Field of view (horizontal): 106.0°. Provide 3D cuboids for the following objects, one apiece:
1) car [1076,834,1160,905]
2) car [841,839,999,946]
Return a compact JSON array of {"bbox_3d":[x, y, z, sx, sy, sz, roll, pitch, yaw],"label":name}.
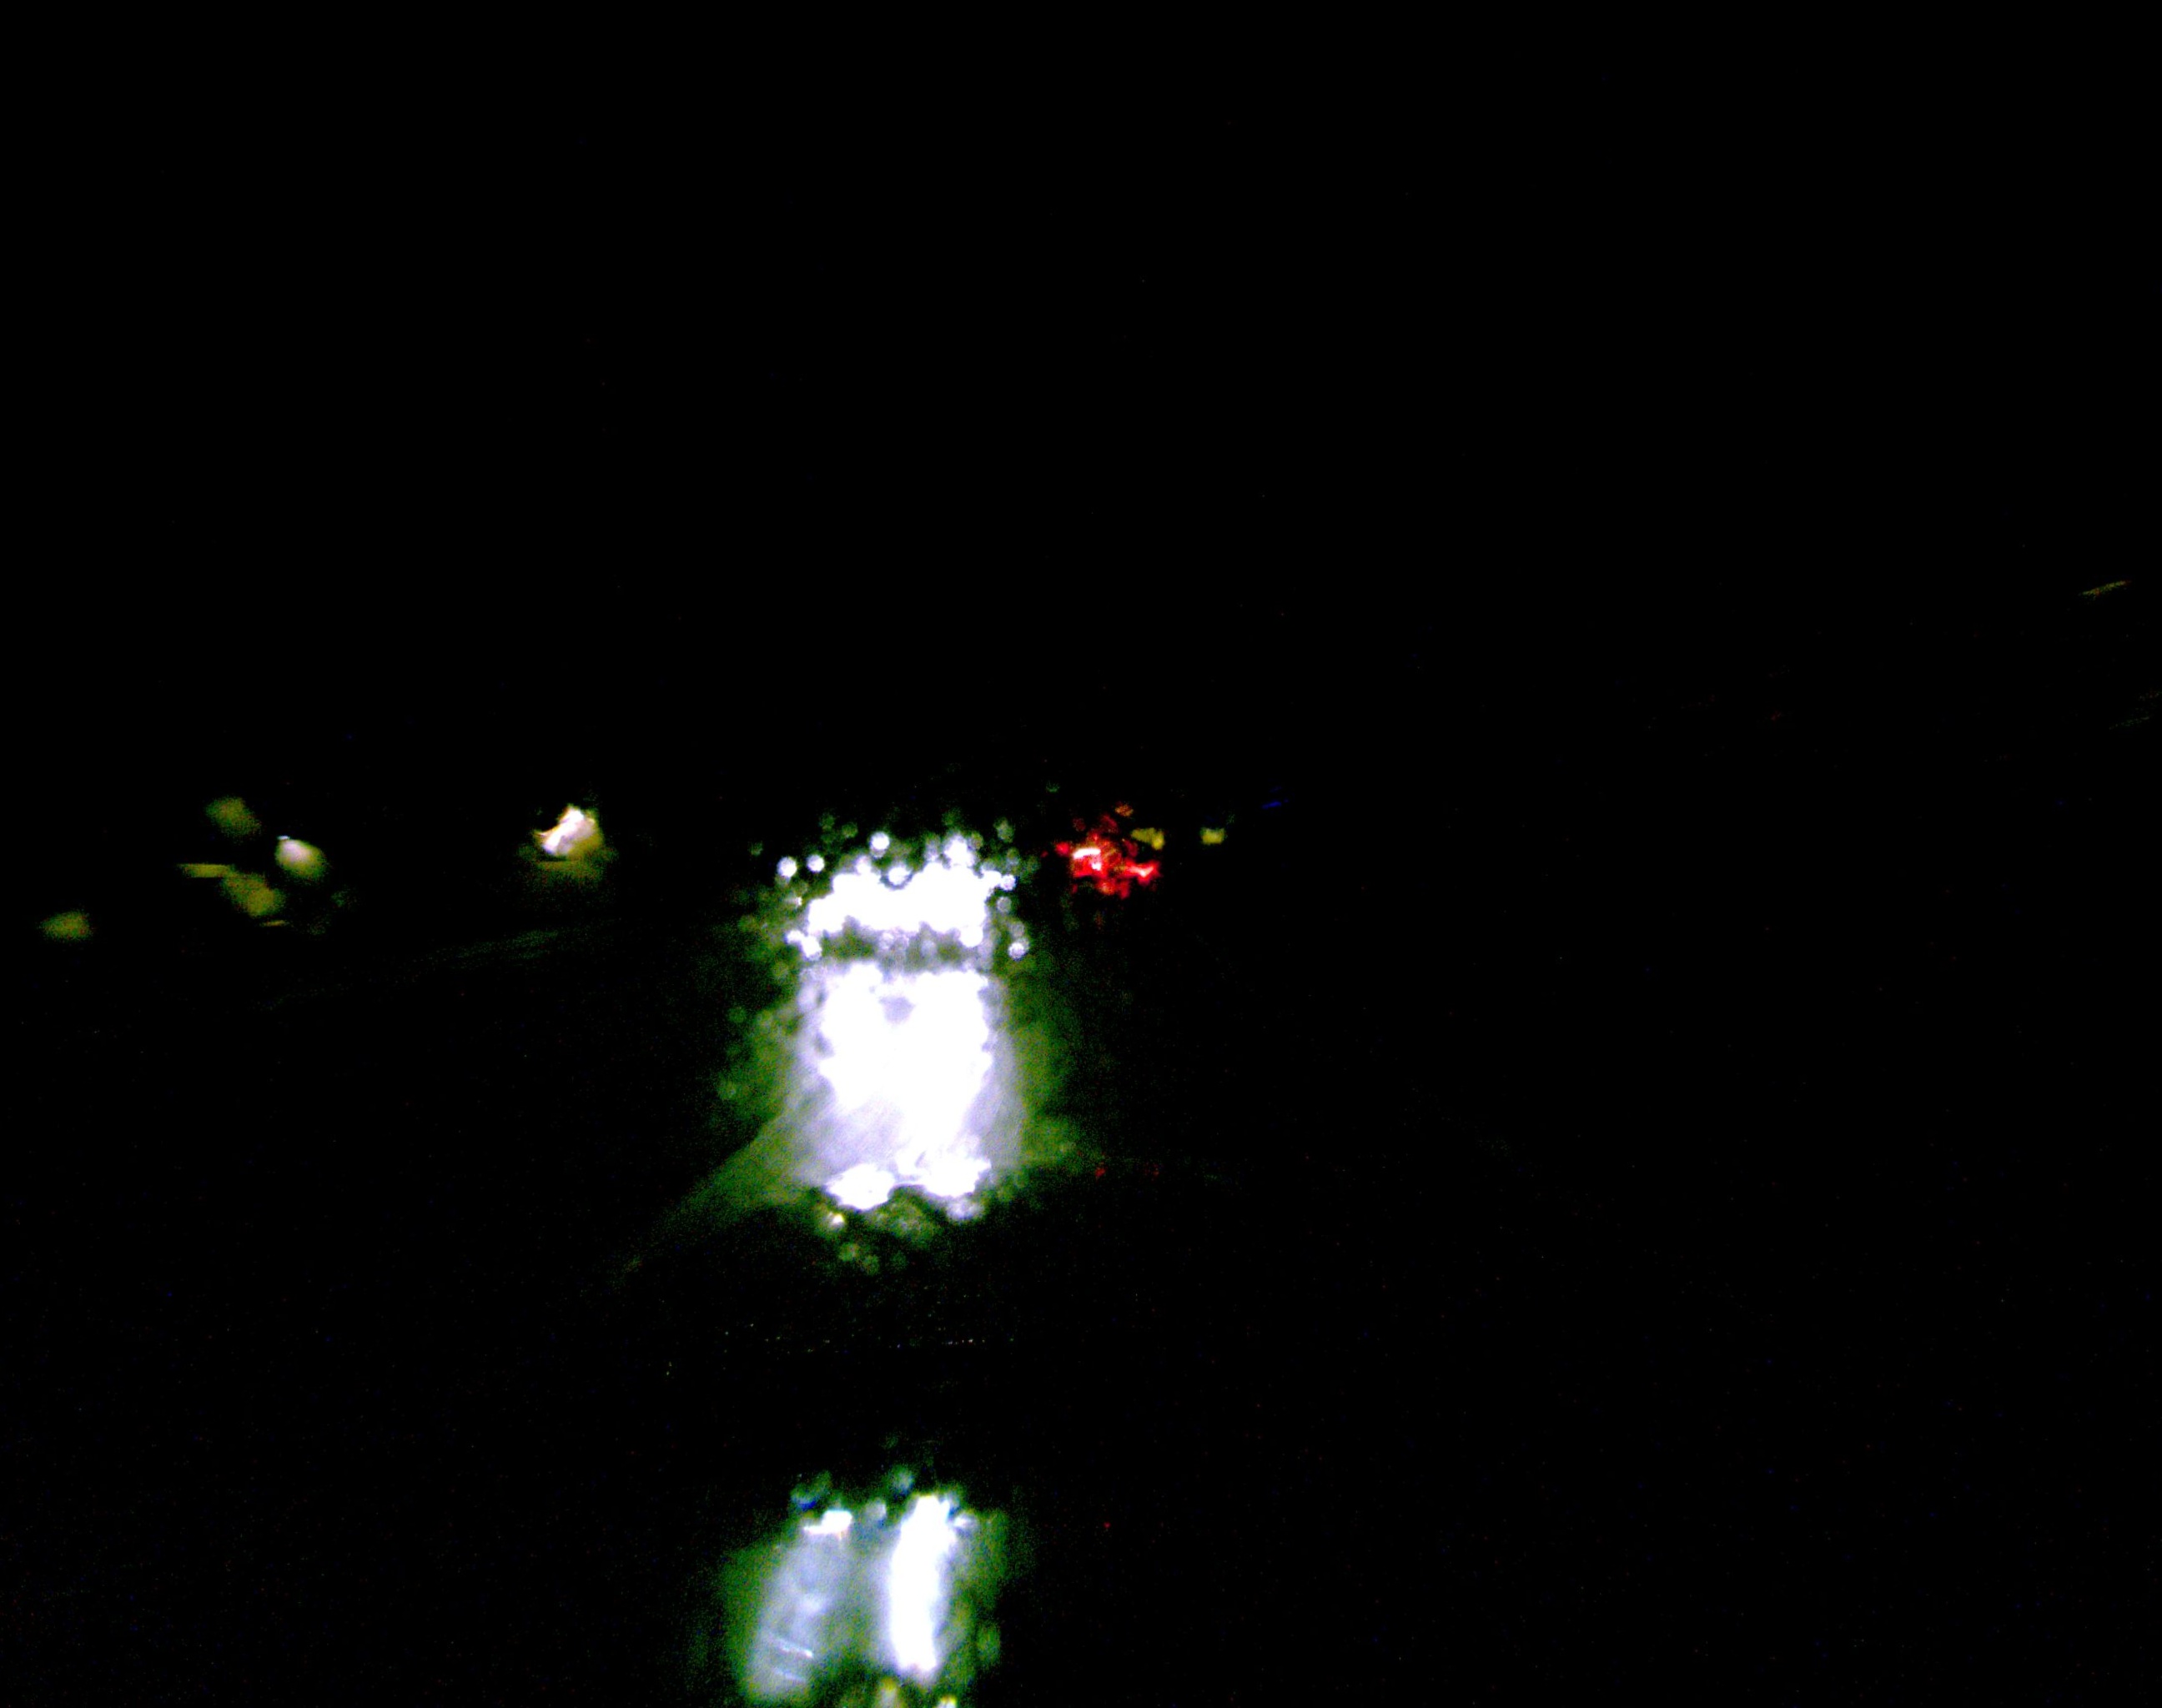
[{"bbox_3d":[1.382,0.469,29.681,2.704,2.307,6.106,-1,1,3],"label":"car"},{"bbox_3d":[-2.768,0.627,15.001,1.882,1.637,4.158,-2,-1,2],"label":"car"}]
